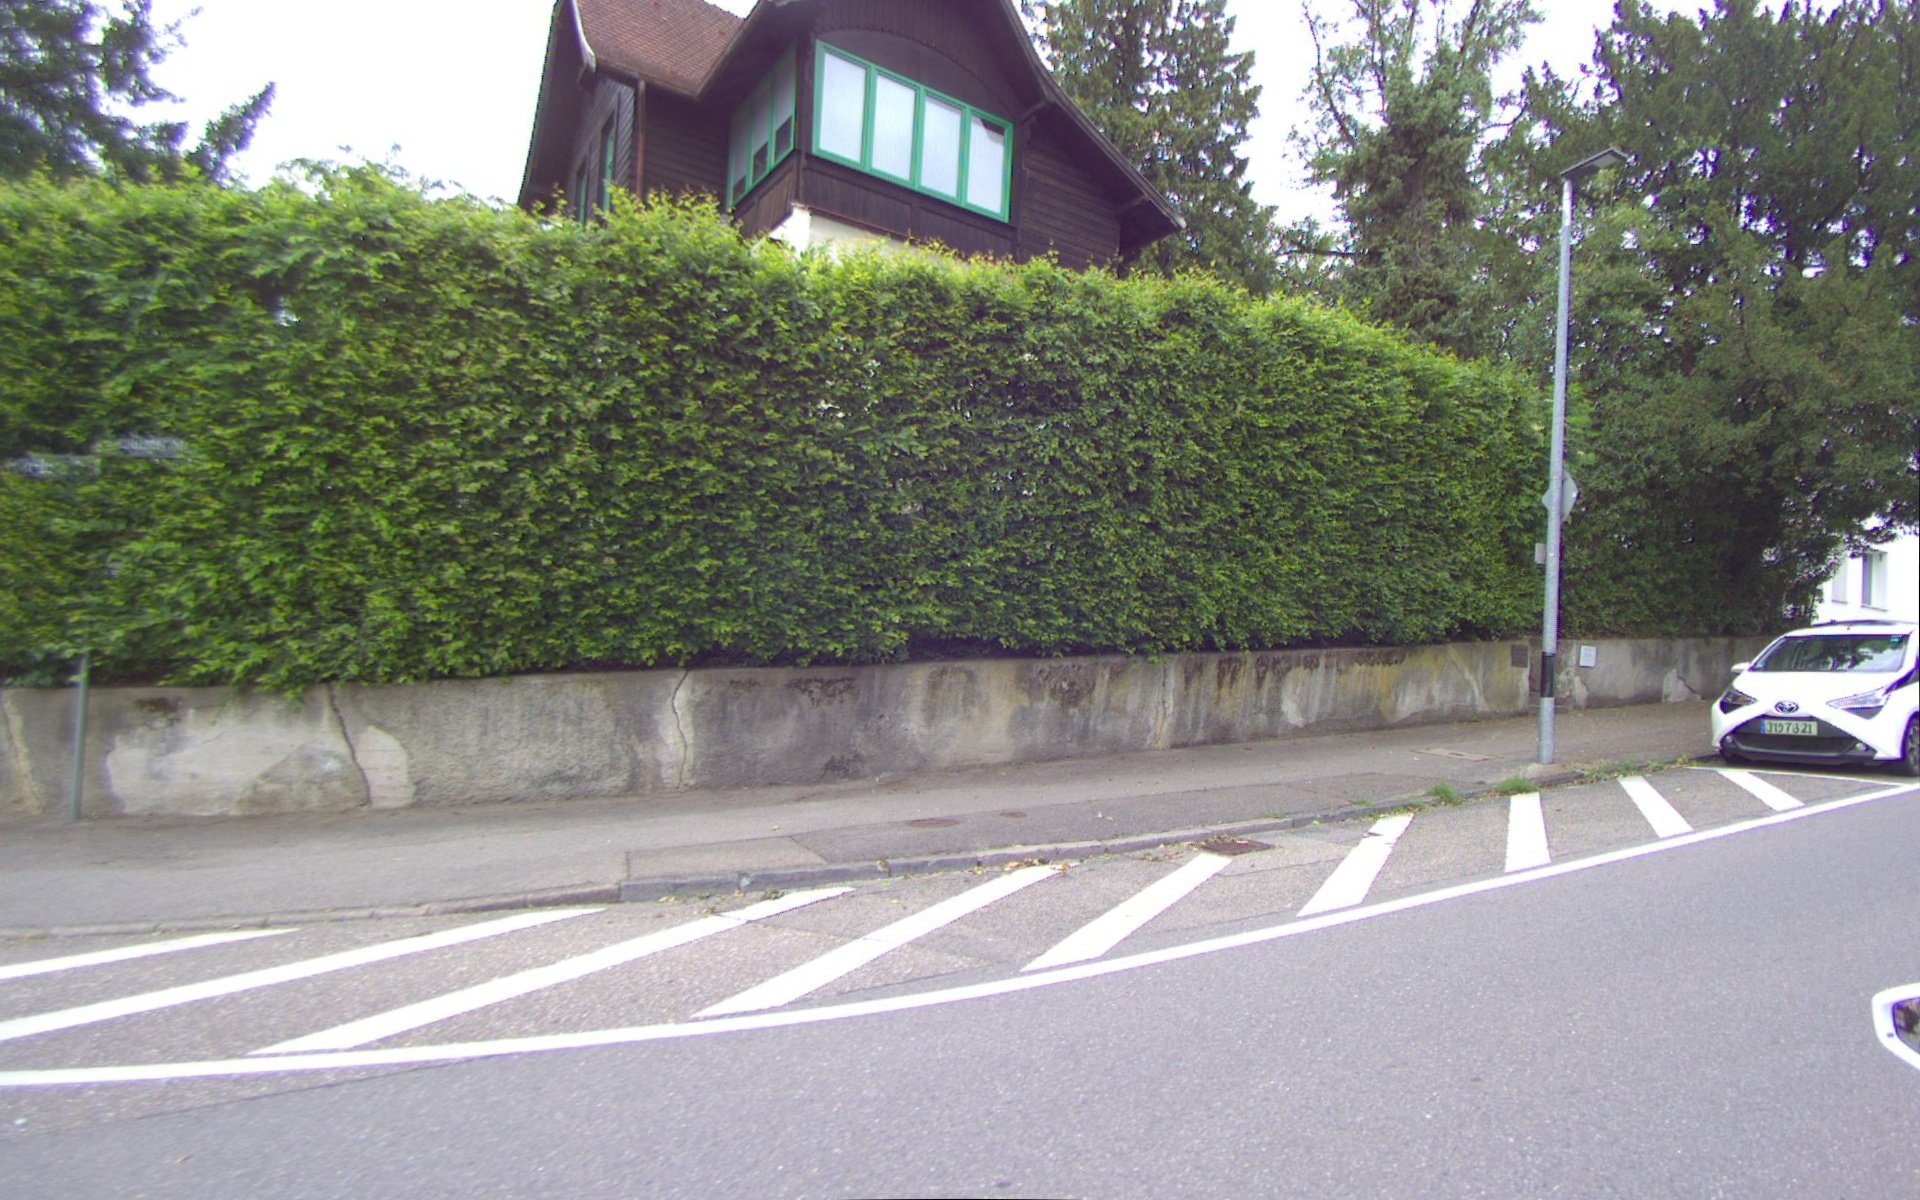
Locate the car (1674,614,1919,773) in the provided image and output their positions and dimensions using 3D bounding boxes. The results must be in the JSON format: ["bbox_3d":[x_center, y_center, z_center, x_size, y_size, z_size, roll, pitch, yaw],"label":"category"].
[{"bbox_3d":[9.620,0.925,10.935,3.473,1.467,1.736,1,-3,-31],"label":"car"}]

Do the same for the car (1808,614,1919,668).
[{"bbox_3d":[25.029,1.061,26.508,1.724,1.372,3.770,1,-1,-35],"label":"car"}]

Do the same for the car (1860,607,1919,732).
[{"bbox_3d":[13.219,0.884,12.963,2.941,1.539,1.616,1,-1,-31],"label":"car"}]
